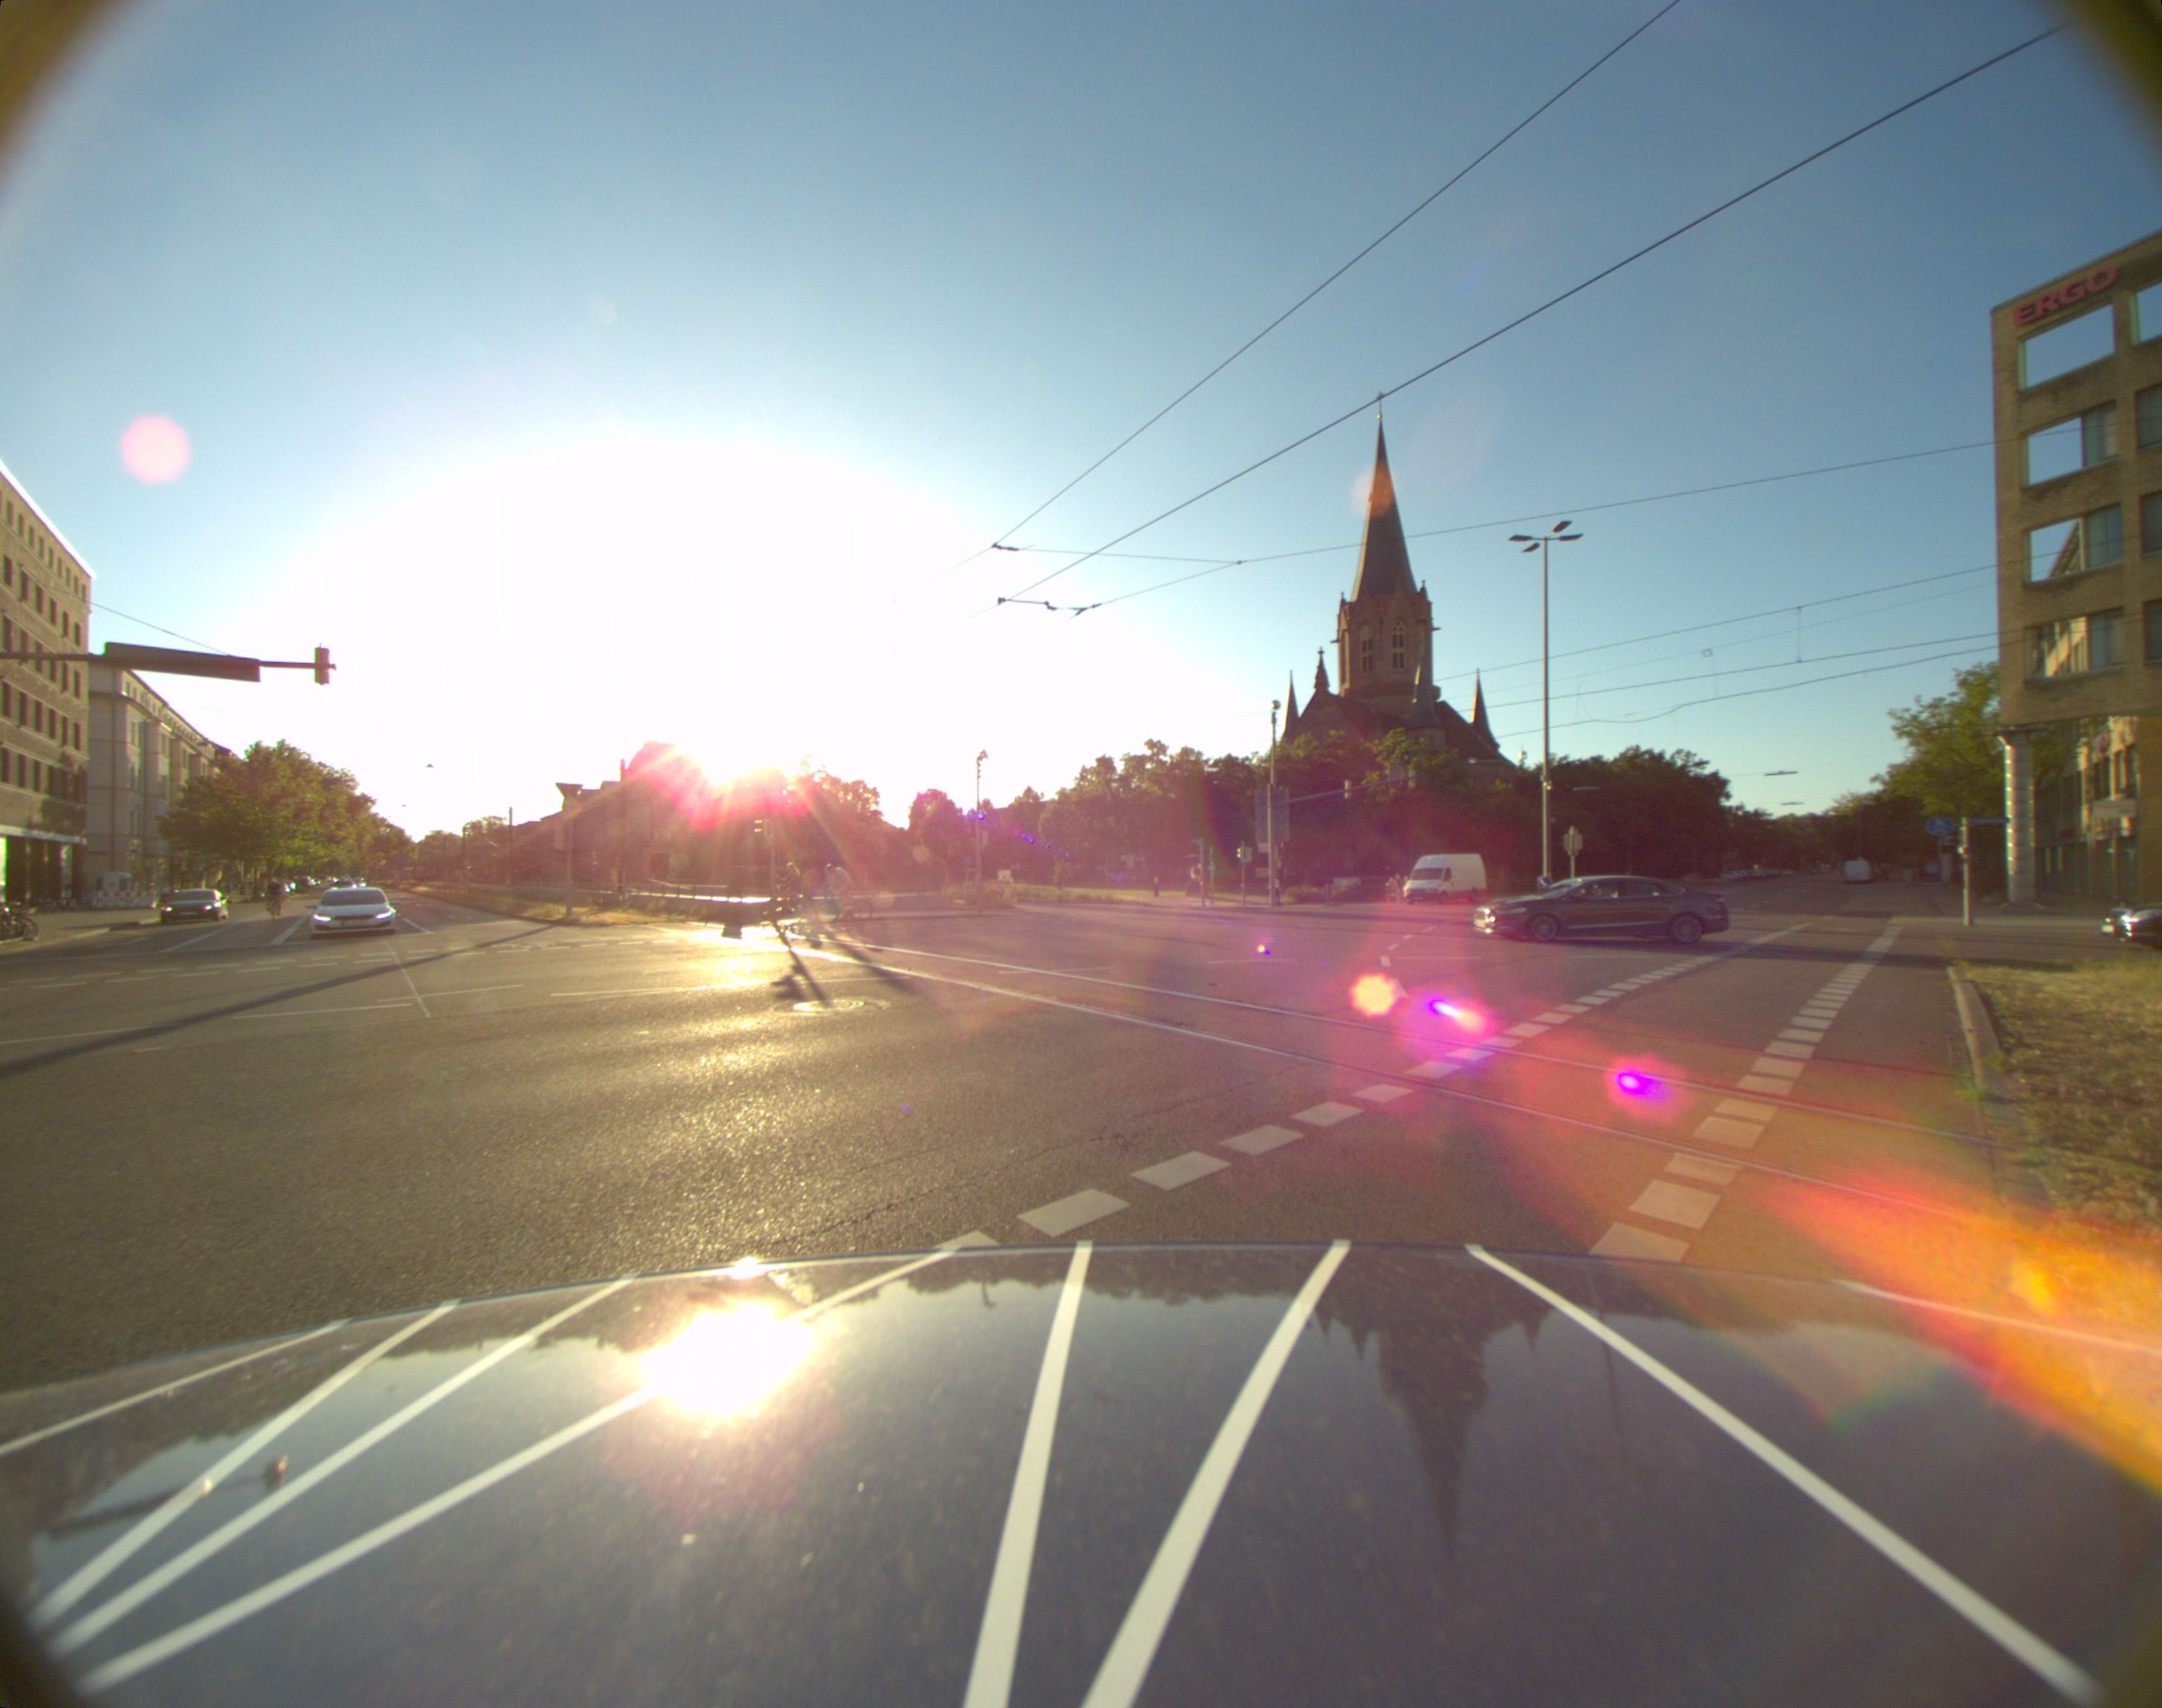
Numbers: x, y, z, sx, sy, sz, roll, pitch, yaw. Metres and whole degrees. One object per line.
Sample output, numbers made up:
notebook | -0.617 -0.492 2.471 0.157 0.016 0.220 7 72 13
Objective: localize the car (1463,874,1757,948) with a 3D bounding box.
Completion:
car | 11.501 1.197 16.881 5.034 1.428 1.881 0 0 10

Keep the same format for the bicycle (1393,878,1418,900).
bicycle | 19.394 2.083 45.427 1.975 1.175 0.489 -1 0 -39

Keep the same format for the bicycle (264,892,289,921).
bicycle | -35.641 2.311 33.685 0.577 1.193 2.200 -2 0 -43

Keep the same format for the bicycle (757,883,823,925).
bicycle | -9.050 1.535 23.693 0.489 1.175 1.975 -2 0 35

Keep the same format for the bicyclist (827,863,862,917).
bicyclist | -7.102 1.058 22.817 0.735 1.559 0.821 -2 0 -38

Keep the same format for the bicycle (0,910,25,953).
bicycle | -29.333 2.091 19.844 1.961 1.113 0.457 -1 0 -40

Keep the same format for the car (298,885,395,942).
car | -22.367 1.724 23.134 1.960 1.484 3.948 -1 0 -45

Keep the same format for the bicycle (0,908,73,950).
bicycle | -31.131 2.211 22.197 1.961 1.113 0.457 -1 0 -40

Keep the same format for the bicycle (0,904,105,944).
bicycle | -32.631 2.205 24.117 1.961 1.113 0.457 -1 0 -40

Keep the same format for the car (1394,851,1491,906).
car | 20.455 1.280 42.771 7.217 2.860 2.302 0 -1 -42

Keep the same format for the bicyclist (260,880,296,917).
bicyclist | -35.558 1.954 33.647 0.998 1.529 0.920 -2 0 -42

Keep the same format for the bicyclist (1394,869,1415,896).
bicyclist | 19.308 1.699 45.360 0.735 1.559 0.821 -2 0 -38

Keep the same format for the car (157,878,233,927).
car | -39.974 2.136 34.370 3.989 2.002 2.004 -2 0 43

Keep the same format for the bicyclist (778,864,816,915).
bicyclist | -8.918 1.102 23.850 0.821 1.559 0.735 -2 0 35

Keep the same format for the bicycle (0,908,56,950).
bicycle | -30.385 2.126 21.248 1.961 1.113 0.457 -1 0 -40

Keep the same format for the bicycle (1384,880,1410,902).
bicycle | 18.166 2.102 43.667 1.975 1.175 0.489 -1 0 -39

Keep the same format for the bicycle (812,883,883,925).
bicycle | -7.022 1.491 22.891 1.975 1.175 0.489 0 -1 -39

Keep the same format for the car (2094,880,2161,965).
car | 22.072 1.279 13.252 5.012 1.499 1.728 0 1 39

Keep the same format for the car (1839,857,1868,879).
car | 87.372 1.569 85.893 4.374 2.408 2.099 -1 0 -43

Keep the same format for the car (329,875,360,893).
car | -72.633 2.932 74.984 2.004 1.739 3.989 0 -1 -41

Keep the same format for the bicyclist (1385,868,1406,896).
bicyclist | 18.060 1.605 43.602 0.735 1.559 0.821 -2 0 -38

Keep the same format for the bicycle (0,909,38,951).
bicycle | -29.977 2.110 20.582 1.961 1.113 0.457 -1 0 -40

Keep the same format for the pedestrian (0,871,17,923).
pedestrian | -42.255 1.680 29.673 0.657 2.002 0.750 -2 0 -44

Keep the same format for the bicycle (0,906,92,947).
bicycle | -32.035 2.210 23.329 1.961 1.113 0.457 -1 0 -40

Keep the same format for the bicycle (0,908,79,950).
bicycle | -31.519 2.243 22.631 1.961 1.113 0.457 -1 0 -40

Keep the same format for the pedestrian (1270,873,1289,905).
pedestrian | 10.500 1.830 40.178 0.664 1.671 0.656 0 -1 -41
